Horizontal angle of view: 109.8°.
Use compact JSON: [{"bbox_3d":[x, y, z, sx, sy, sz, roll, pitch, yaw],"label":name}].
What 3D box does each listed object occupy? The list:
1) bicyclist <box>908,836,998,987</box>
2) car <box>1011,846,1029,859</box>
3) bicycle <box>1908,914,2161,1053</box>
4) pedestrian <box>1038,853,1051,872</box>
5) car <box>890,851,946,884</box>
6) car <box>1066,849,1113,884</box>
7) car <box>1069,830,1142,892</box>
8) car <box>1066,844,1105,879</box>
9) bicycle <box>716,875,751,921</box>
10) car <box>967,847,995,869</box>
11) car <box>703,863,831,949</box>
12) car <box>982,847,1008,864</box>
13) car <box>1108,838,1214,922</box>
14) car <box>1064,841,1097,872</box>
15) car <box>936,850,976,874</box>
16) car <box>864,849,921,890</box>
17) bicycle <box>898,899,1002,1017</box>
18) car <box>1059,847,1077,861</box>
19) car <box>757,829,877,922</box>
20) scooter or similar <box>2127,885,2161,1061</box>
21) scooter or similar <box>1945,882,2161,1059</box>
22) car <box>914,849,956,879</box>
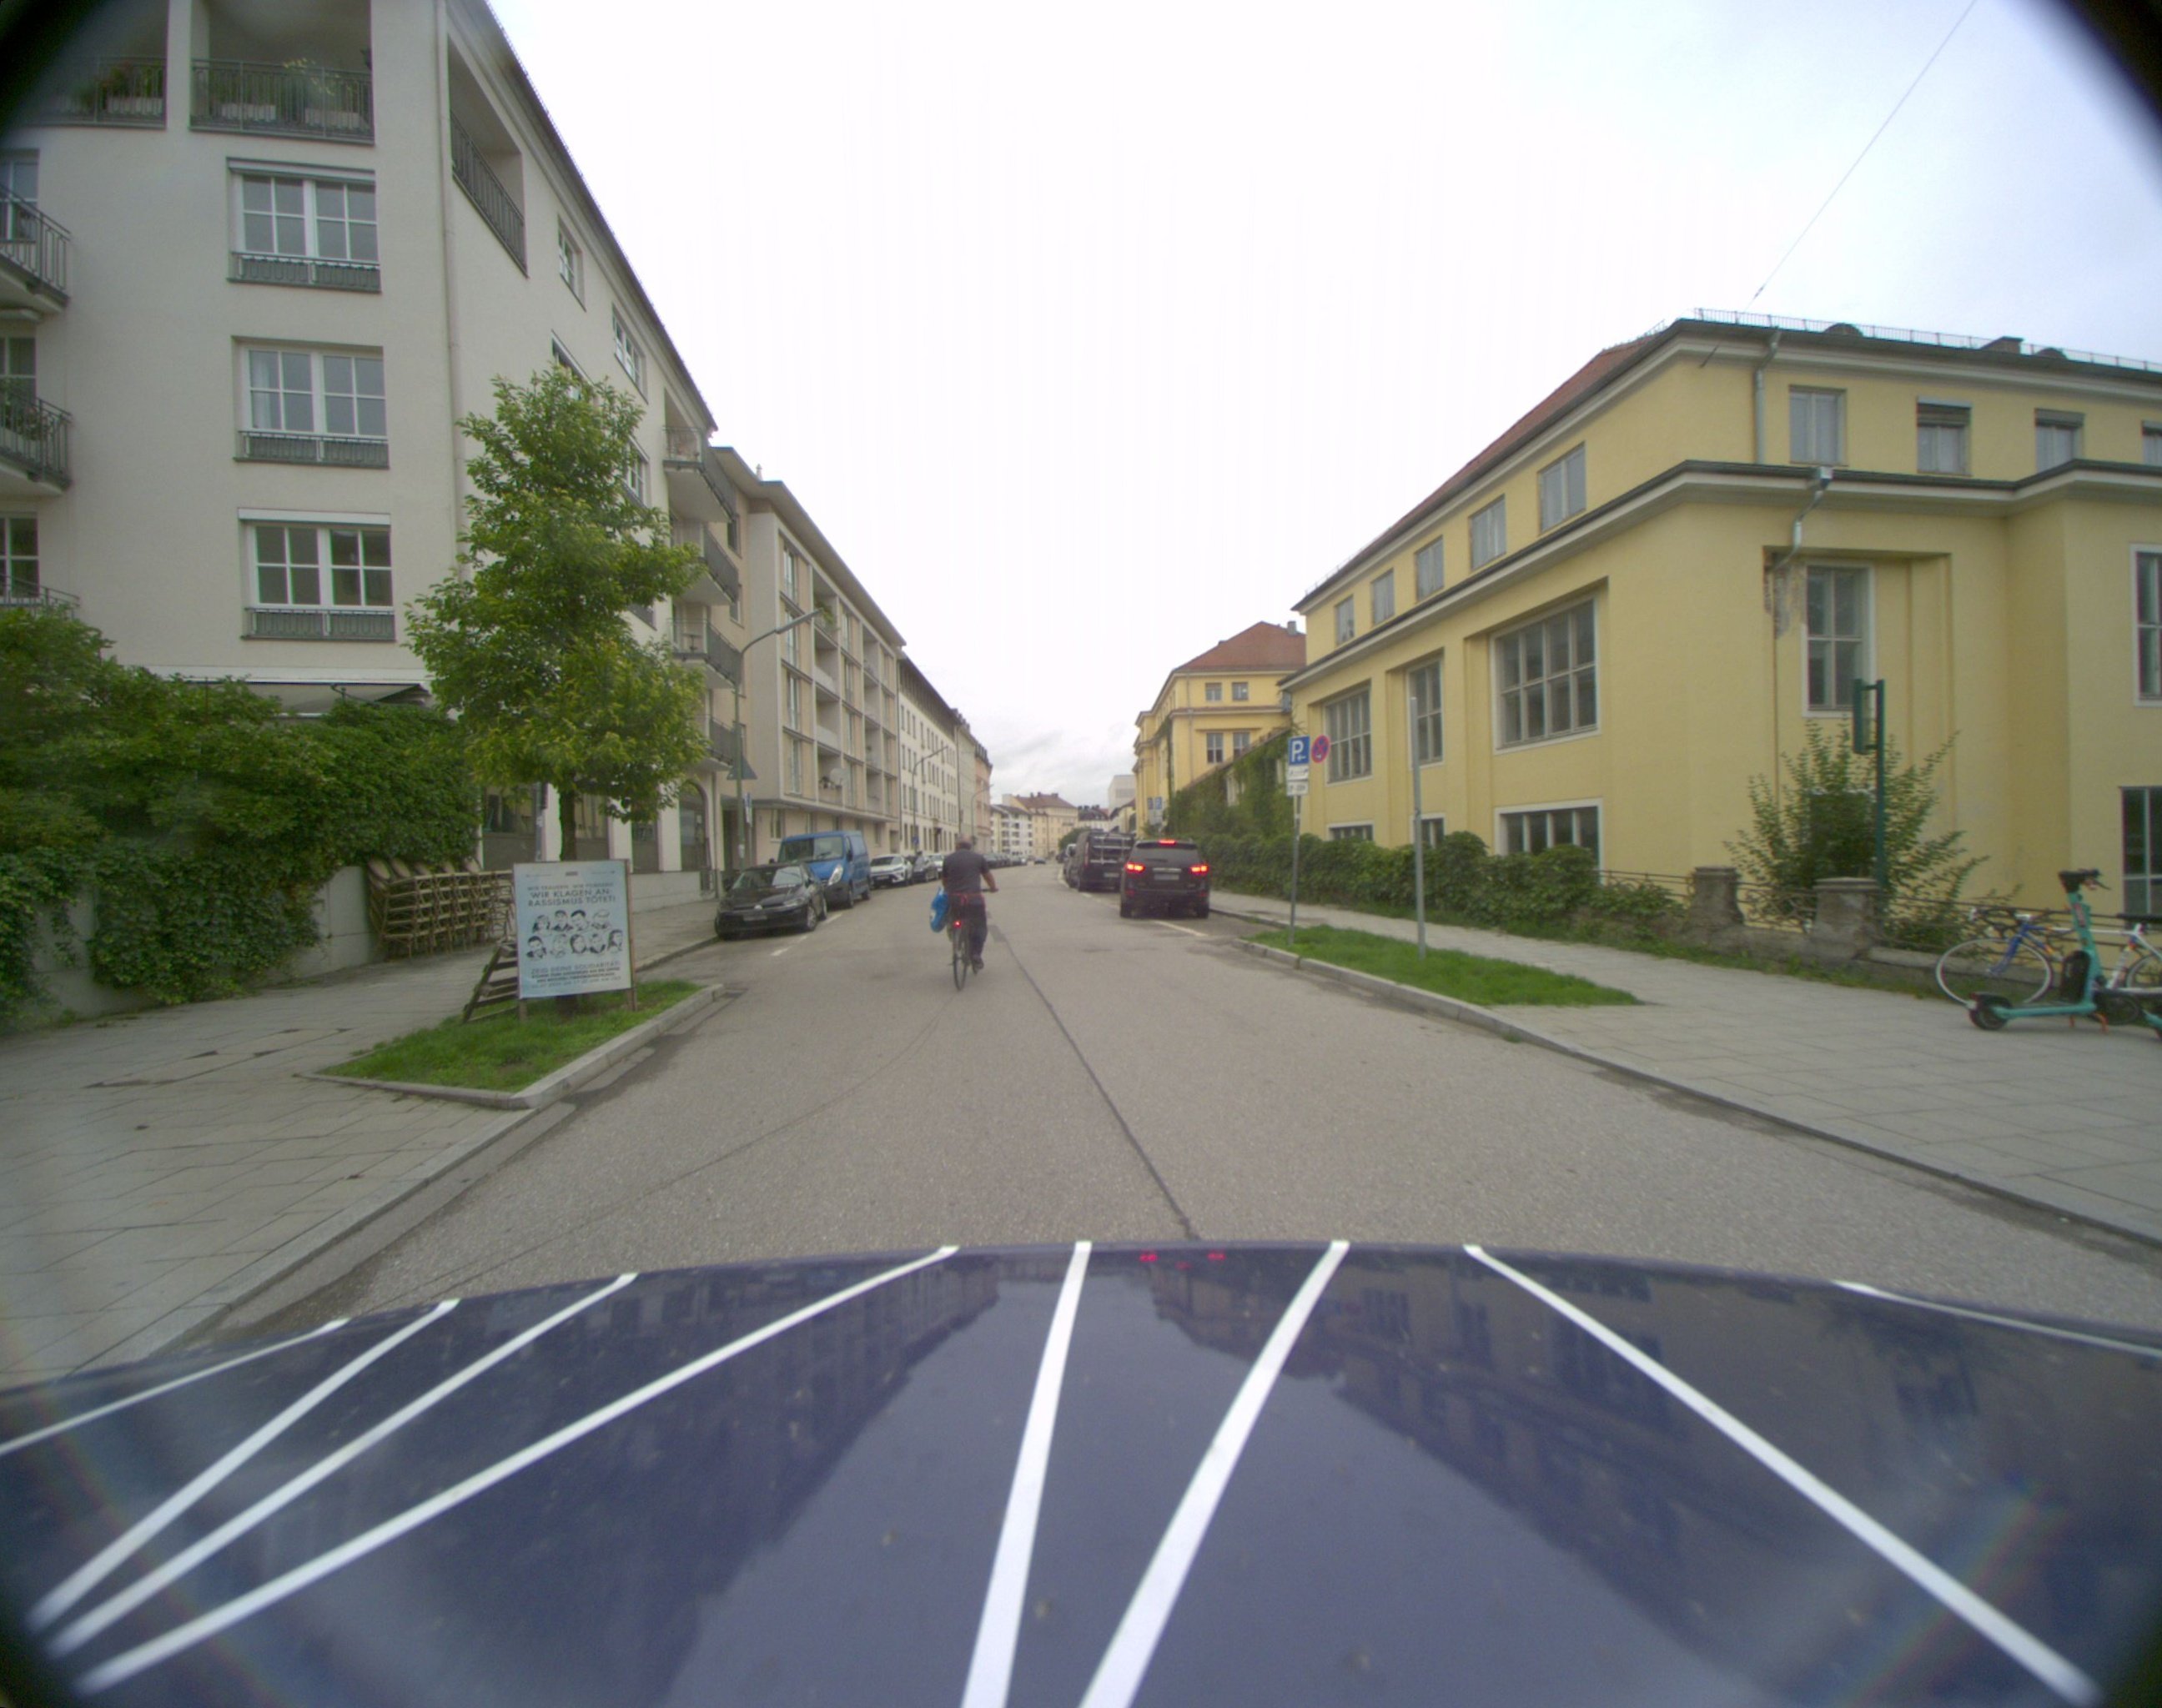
[{"bbox_3d":[-1.444,0.620,8.736,0.878,1.600,1.049,-1,1,-4],"label":"bicyclist"},{"bbox_3d":[-7.508,-0.162,94.027,1.768,1.531,4.000,-4,0,0],"label":"car"},{"bbox_3d":[7.993,1.026,6.380,0.435,0.888,1.327,-2,3,-28],"label":"bicycle"},{"bbox_3d":[-5.815,1.360,122.145,1.930,2.933,2.025,0,0,-1],"label":"pedestrian"},{"bbox_3d":[-8.295,0.631,39.072,1.776,1.421,4.692,-6,0,0],"label":"car"},{"bbox_3d":[0.312,0.522,32.711,1.711,1.357,4.000,3,0,-3],"label":"car"},{"bbox_3d":[0.788,0.238,27.239,1.931,1.967,4.619,1,0,-6],"label":"car"},{"bbox_3d":[0.175,0.346,37.861,1.707,1.597,4.490,2,0,-2],"label":"car"},{"bbox_3d":[-8.853,1.086,19.421,0.567,1.063,1.784,-1,0,-18],"label":"bicycle"},{"bbox_3d":[-7.896,0.294,60.358,1.618,1.508,3.380,-5,0,0],"label":"car"},{"bbox_3d":[-6.505,0.987,16.172,1.720,1.387,3.995,-5,1,-12],"label":"car"},{"bbox_3d":[-7.895,0.154,70.040,1.878,1.439,4.699,-3,0,-2],"label":"car"},{"bbox_3d":[2.031,0.529,17.840,1.997,1.709,4.619,-1,0,12],"label":"car"},{"bbox_3d":[-0.074,0.183,48.558,1.898,1.788,4.880,3,0,-1],"label":"car"},{"bbox_3d":[-8.053,0.521,49.298,1.832,1.373,4.490,-4,0,0],"label":"car"},{"bbox_3d":[-8.323,0.661,33.929,1.781,1.514,4.301,-6,0,-7],"label":"car"},{"bbox_3d":[-1.411,1.096,8.646,0.879,1.013,2.190,-1,0,-3],"label":"bicycle"},{"bbox_3d":[-2.598,0.001,147.898,2.848,2.536,6.888,-1,0,-7],"label":"car"},{"bbox_3d":[-7.555,0.478,22.364,2.115,2.202,5.023,-6,3,-7],"label":"car"},{"bbox_3d":[7.607,0.848,4.936,0.438,1.206,1.054,0,3,23],"label":"scooter or similar"},{"bbox_3d":[7.354,0.854,5.678,1.263,1.237,0.394,-1,3,3],"label":"scooter or similar"},{"bbox_3d":[-8.430,0.545,44.254,1.706,1.460,4.118,-6,1,-3],"label":"car"}]
